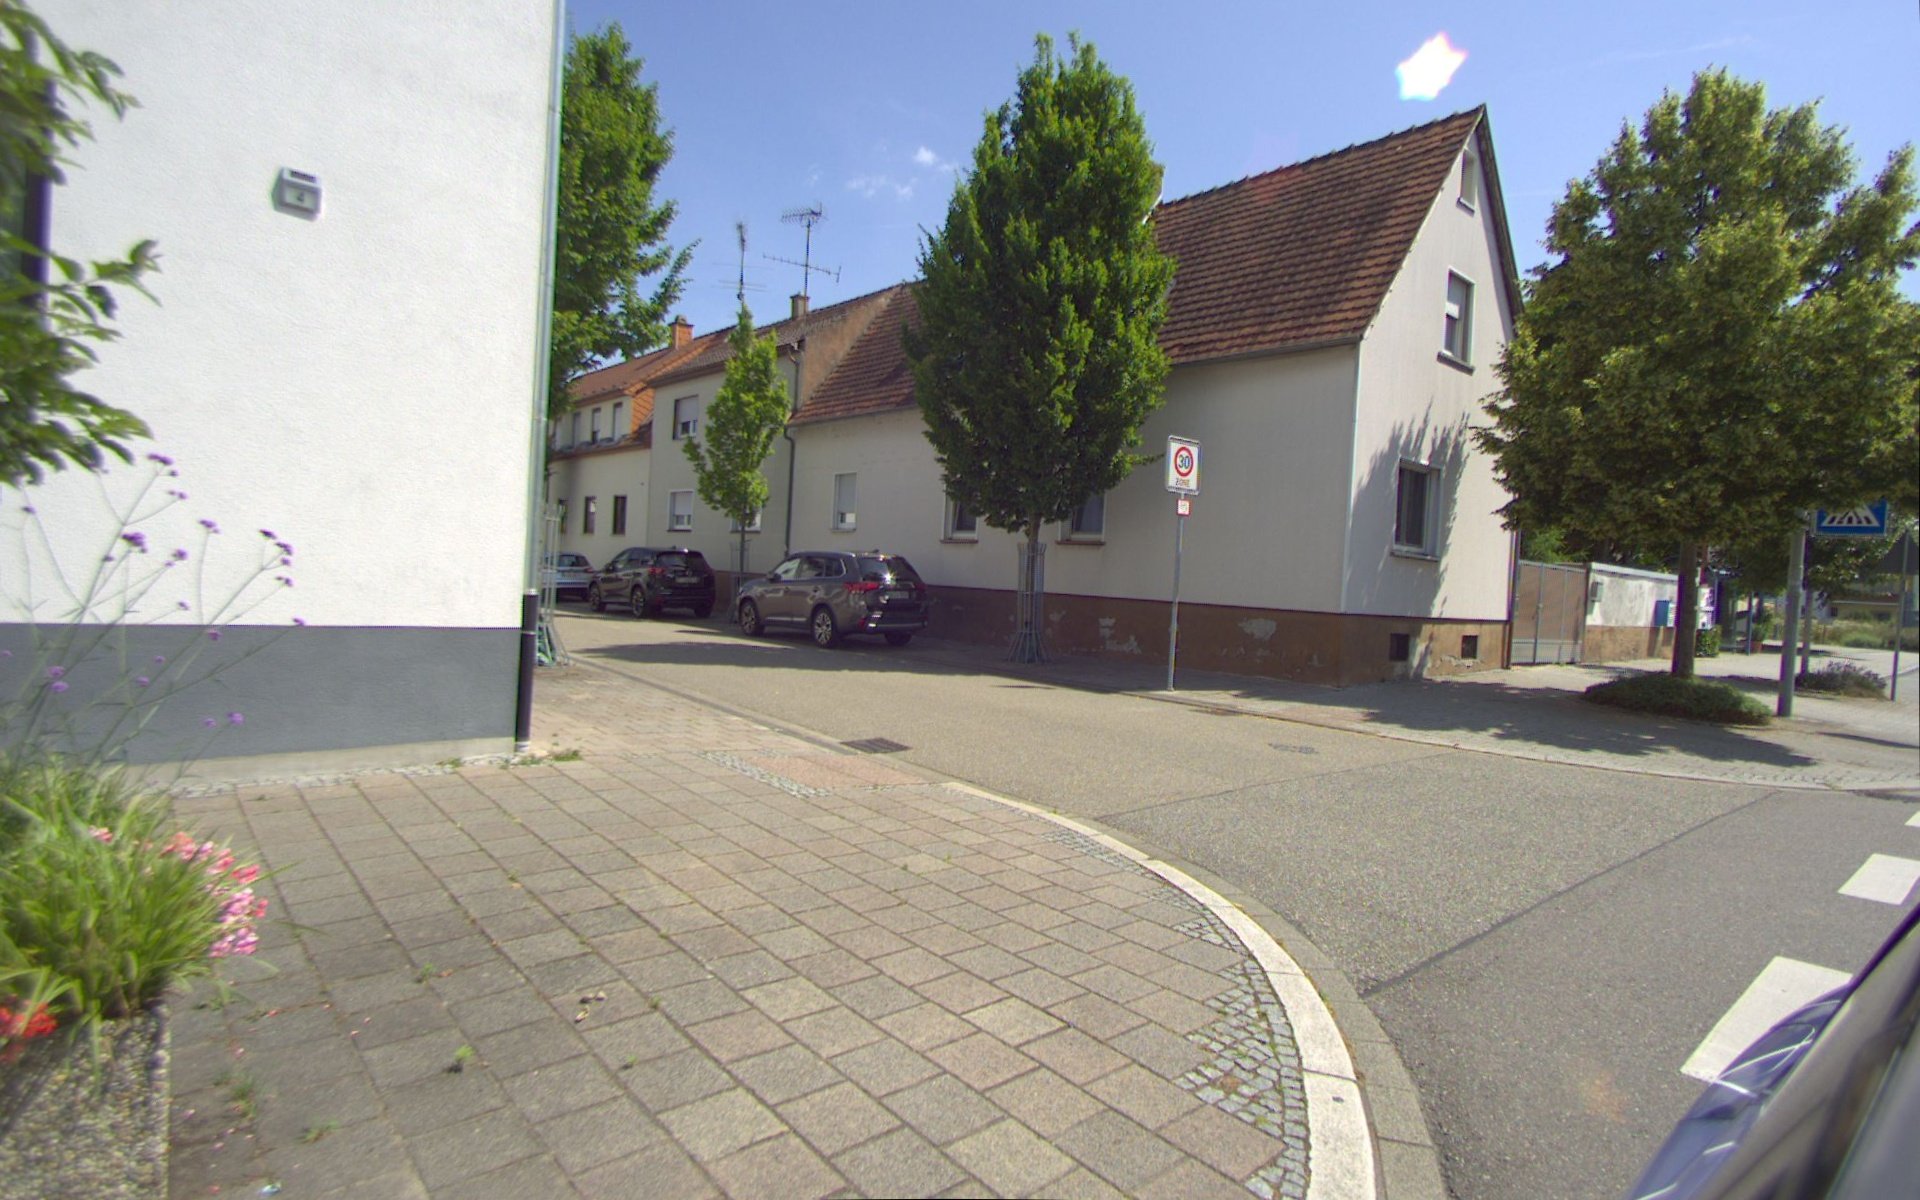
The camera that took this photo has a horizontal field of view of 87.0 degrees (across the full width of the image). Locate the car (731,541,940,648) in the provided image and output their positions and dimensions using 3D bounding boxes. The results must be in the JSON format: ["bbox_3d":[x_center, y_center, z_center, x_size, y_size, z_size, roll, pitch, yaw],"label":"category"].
[{"bbox_3d":[-2.388,-0.171,18.526,1.796,1.693,4.176,2,2,-40],"label":"car"}]

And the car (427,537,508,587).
[{"bbox_3d":[-18.027,-1.408,36.959,1.741,1.620,4.063,2,2,-40],"label":"car"}]

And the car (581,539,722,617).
[{"bbox_3d":[-7.652,-0.587,24.851,1.796,1.693,4.176,2,2,-40],"label":"car"}]

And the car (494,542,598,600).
[{"bbox_3d":[-12.622,-0.910,30.710,1.741,1.538,4.063,2,2,-40],"label":"car"}]
